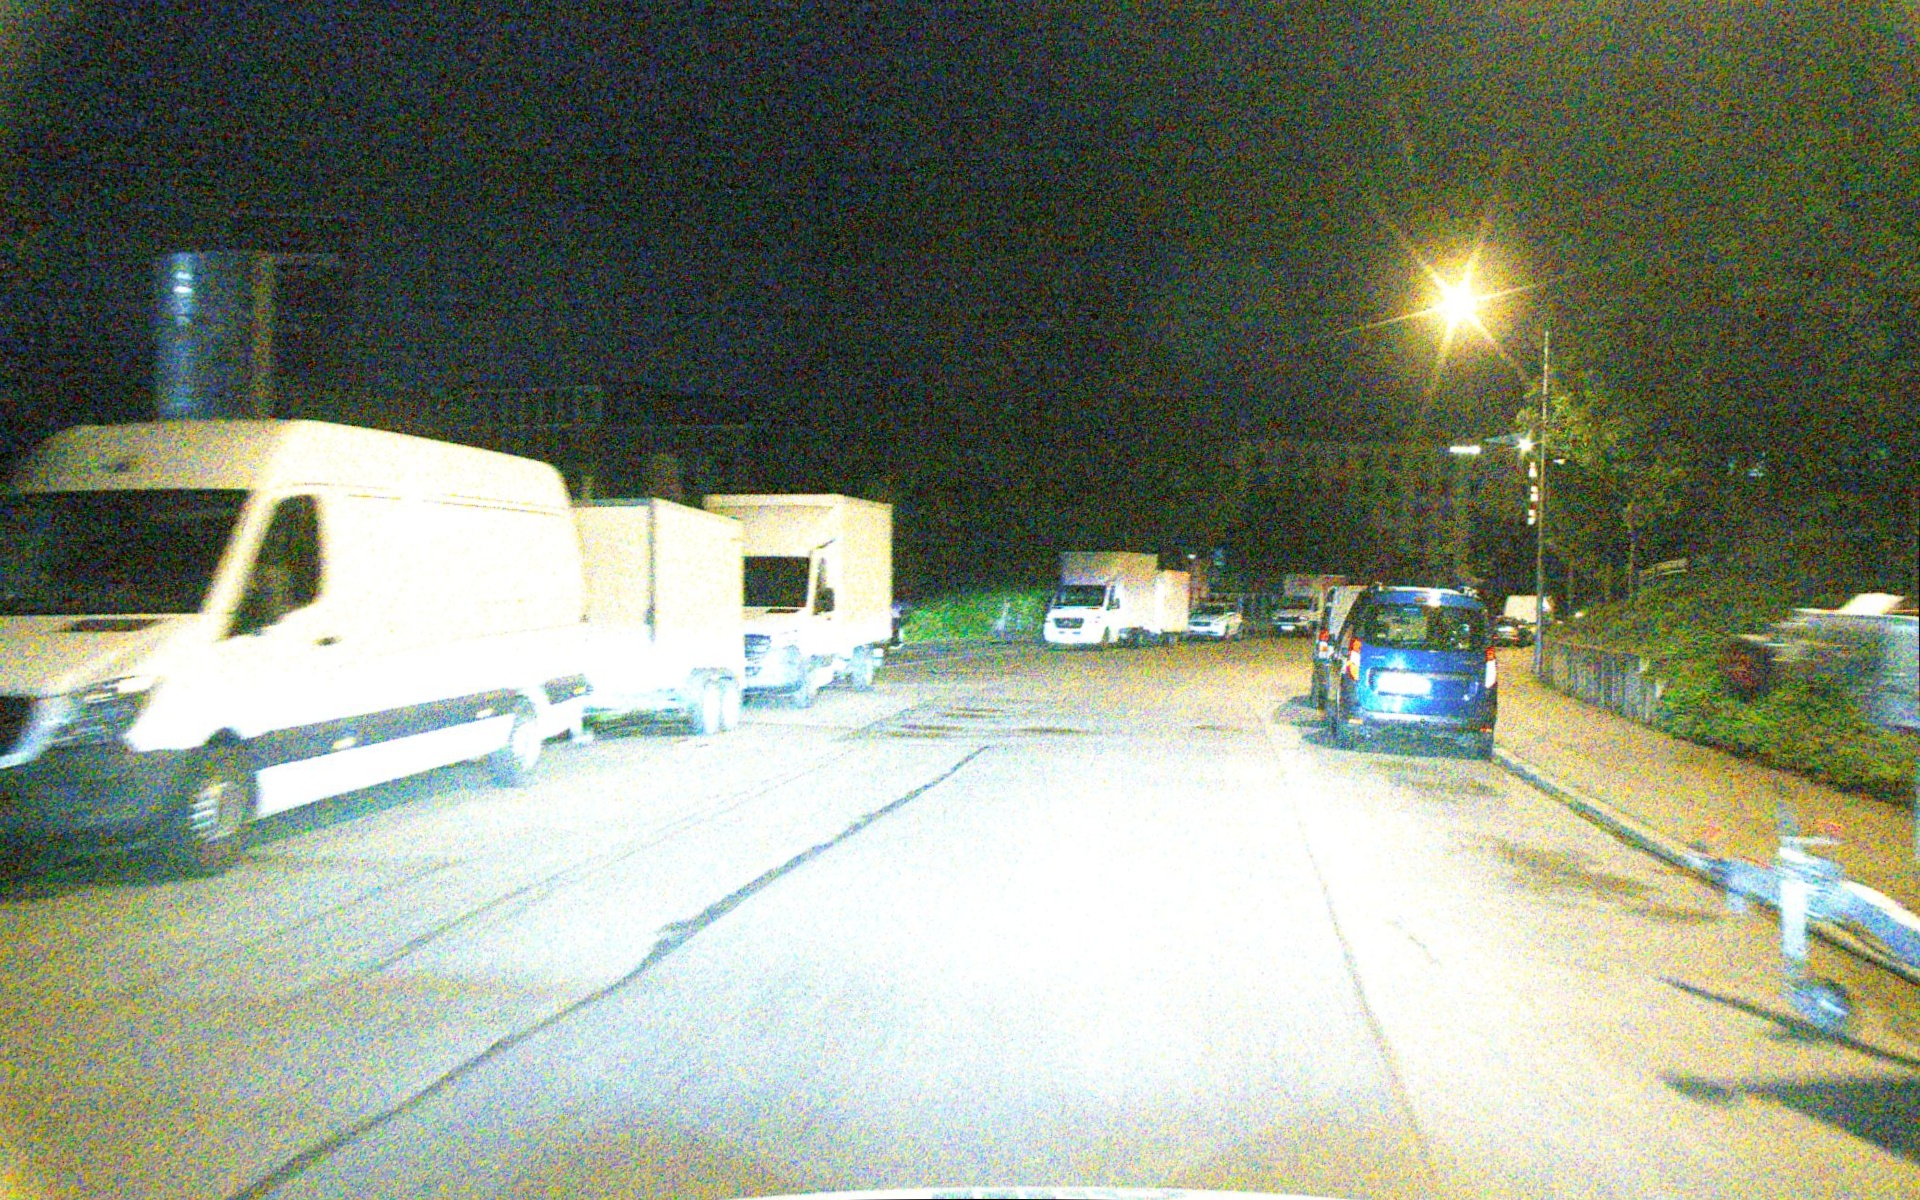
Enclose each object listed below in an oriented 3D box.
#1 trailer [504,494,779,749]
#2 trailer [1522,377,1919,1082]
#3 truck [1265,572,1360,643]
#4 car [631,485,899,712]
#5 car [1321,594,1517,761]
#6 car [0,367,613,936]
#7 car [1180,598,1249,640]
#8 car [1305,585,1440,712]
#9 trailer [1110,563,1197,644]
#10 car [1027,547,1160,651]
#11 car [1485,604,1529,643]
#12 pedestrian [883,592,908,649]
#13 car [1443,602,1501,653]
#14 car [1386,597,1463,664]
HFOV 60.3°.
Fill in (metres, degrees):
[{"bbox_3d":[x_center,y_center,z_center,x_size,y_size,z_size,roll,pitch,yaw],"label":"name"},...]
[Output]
[{"bbox_3d":[-3.437,0.197,18.560,1.951,2.571,3.571,-1,1,8],"label":"trailer"},{"bbox_3d":[3.936,0.400,4.781,1.536,2.198,5.193,0,0,-19],"label":"trailer"},{"bbox_3d":[18.668,0.326,87.185,1.958,3.463,8.958,3,2,31],"label":"truck"},{"bbox_3d":[-2.719,-0.046,25.427,2.465,2.978,7.207,0,0,7],"label":"car"},{"bbox_3d":[5.277,0.817,19.454,1.684,1.690,4.003,2,0,8],"label":"car"},{"bbox_3d":[-4.738,0.216,11.355,2.465,2.651,7.097,0,0,7],"label":"car"},{"bbox_3d":[11.079,0.825,71.861,1.953,1.729,4.205,2,0,23],"label":"car"},{"bbox_3d":[6.630,0.734,26.904,1.684,1.852,4.003,2,0,8],"label":"car"},{"bbox_3d":[7.198,0.071,61.155,1.953,2.862,4.702,1,1,22],"label":"trailer"},{"bbox_3d":[4.557,-0.065,54.948,2.467,3.226,7.138,0,0,21],"label":"car"},{"bbox_3d":[27.266,1.173,82.384,1.686,1.852,3.998,2,0,23],"label":"car"},{"bbox_3d":[-1.928,0.618,49.584,0.663,1.681,0.652,0,2,-10],"label":"pedestrian"},{"bbox_3d":[19.839,1.053,64.010,1.686,1.852,3.998,2,0,23],"label":"car"},{"bbox_3d":[13.932,0.900,49.458,1.686,1.852,3.999,2,0,23],"label":"car"}]
